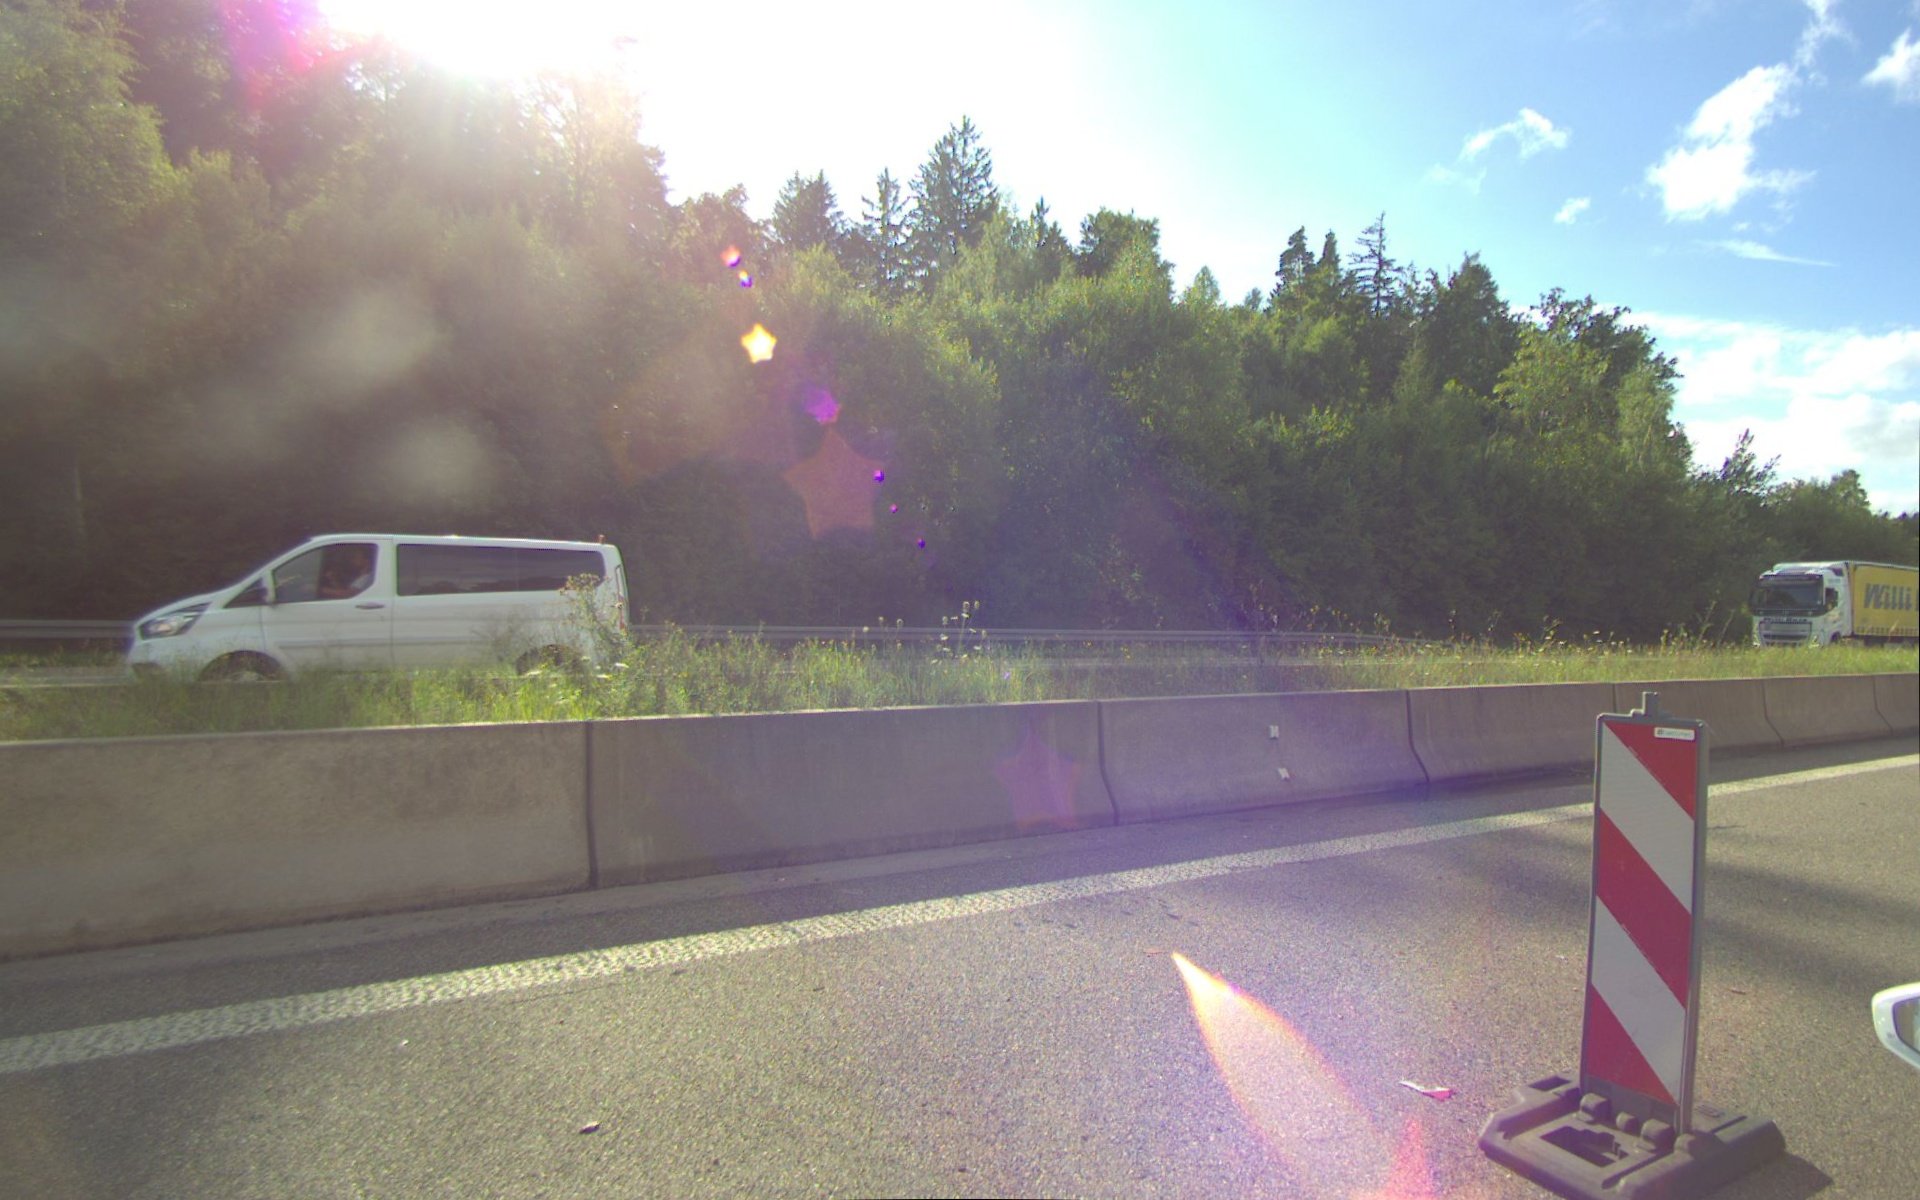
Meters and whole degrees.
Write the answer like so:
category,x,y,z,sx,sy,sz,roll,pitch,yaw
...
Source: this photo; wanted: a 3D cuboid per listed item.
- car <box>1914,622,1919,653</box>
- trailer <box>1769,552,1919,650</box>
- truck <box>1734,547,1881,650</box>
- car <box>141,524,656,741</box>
category,x,y,z,sx,sy,sz,roll,pitch,yaw
car,64.259,2.511,65.453,3.953,2.040,1.984,2,0,-30
trailer,41.540,0.217,45.540,13.777,3.974,2.814,2,0,-31
truck,35.346,0.004,41.872,5.879,3.961,2.813,2,0,-30
car,-6.209,0.359,11.599,4.781,2.040,1.981,2,0,-34
